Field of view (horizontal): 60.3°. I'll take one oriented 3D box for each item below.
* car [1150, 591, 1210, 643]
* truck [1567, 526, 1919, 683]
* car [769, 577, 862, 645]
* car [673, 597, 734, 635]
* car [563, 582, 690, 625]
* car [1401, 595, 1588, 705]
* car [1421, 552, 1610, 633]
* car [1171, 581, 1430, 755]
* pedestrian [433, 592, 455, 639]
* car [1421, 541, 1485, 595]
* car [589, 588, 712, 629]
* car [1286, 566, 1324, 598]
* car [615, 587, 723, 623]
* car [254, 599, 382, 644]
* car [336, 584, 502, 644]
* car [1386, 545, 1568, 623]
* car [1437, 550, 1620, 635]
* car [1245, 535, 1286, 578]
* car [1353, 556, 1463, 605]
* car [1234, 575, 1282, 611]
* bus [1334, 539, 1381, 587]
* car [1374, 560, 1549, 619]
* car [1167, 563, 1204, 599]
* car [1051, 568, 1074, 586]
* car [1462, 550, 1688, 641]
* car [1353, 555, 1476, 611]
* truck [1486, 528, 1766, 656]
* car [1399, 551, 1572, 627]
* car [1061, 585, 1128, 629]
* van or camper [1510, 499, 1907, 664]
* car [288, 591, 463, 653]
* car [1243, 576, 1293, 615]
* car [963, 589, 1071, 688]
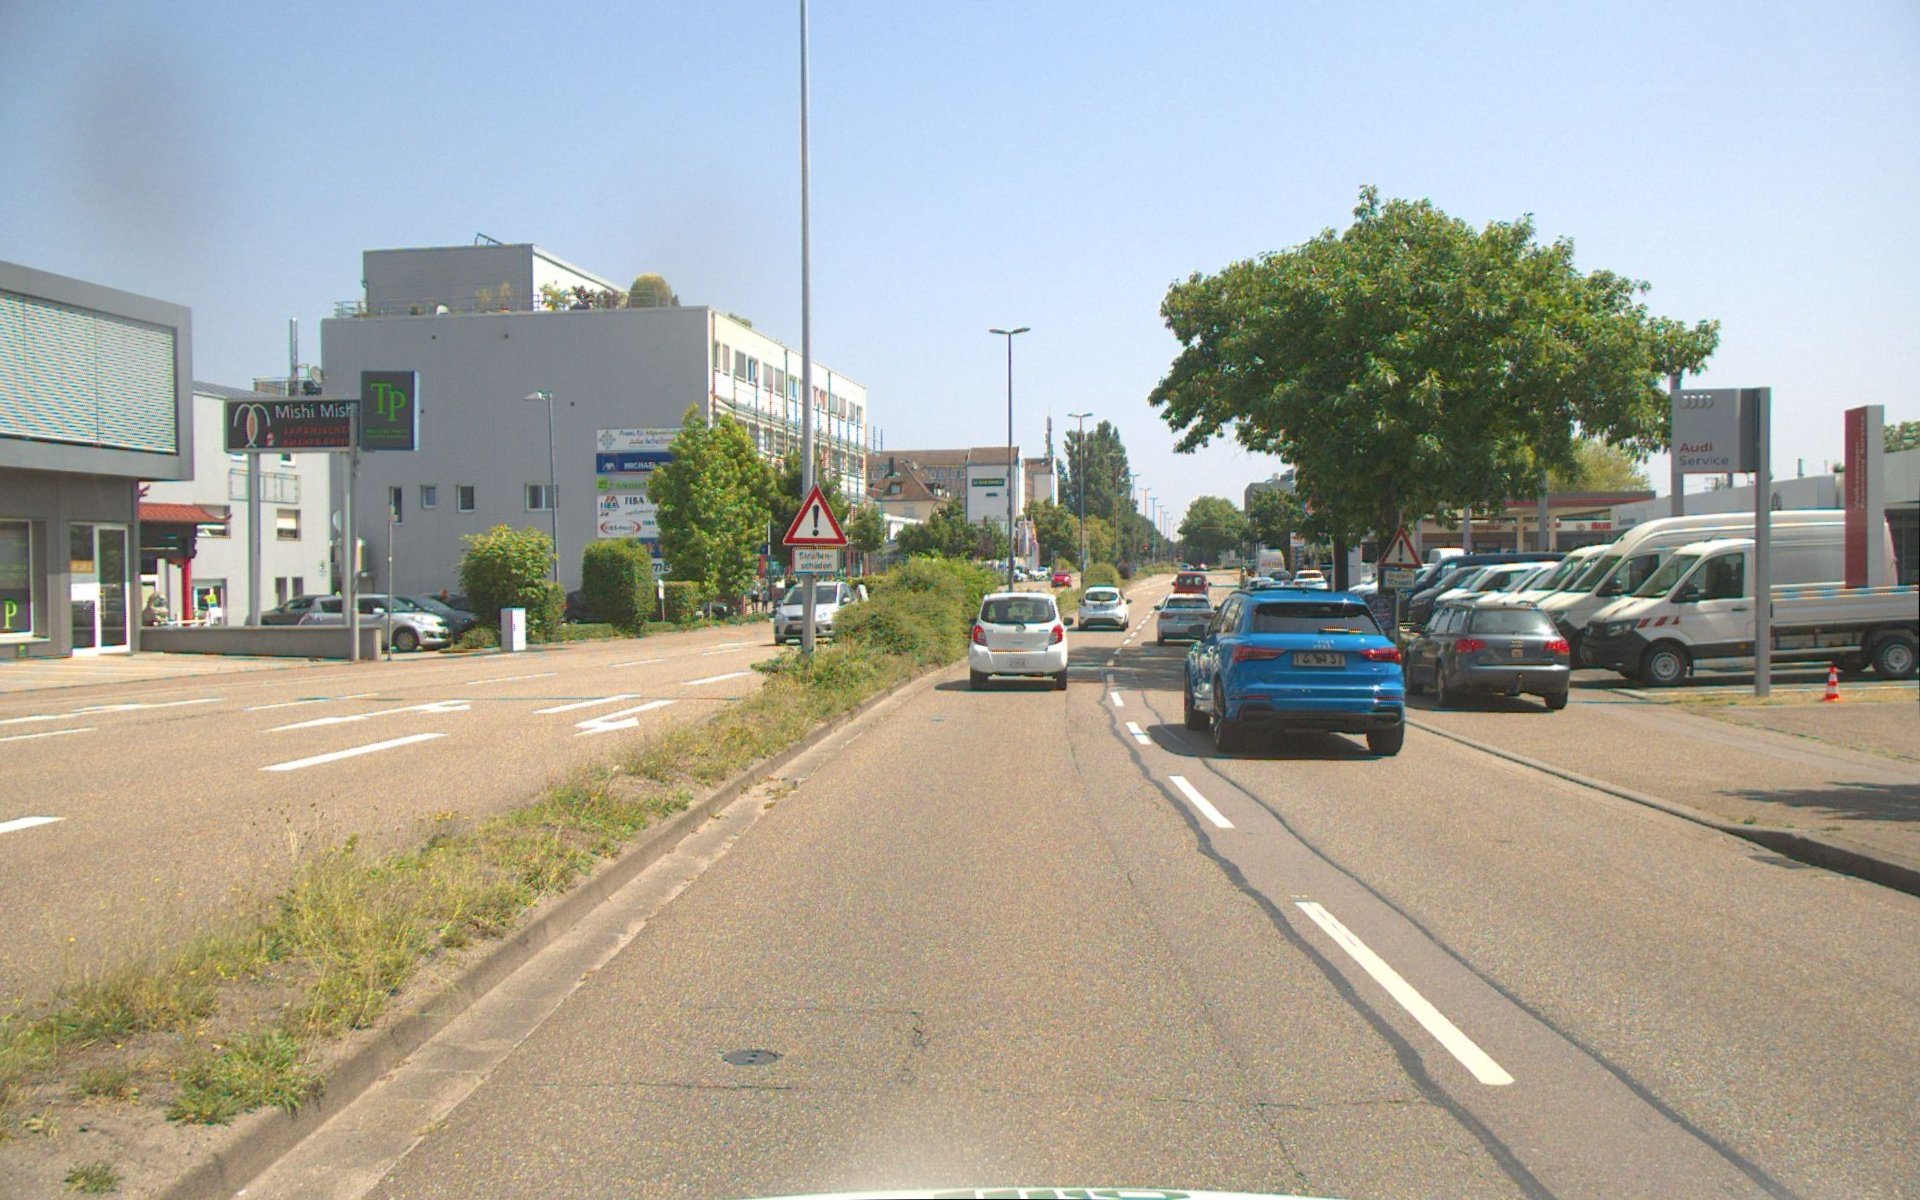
[{"bbox_3d":[6.217,0.463,46.788,1.631,1.424,3.796,0,0,8],"label":"car"},{"bbox_3d":[13.665,0.042,27.779,6.112,2.377,2.371,-2,1,9],"label":"truck"},{"bbox_3d":[-3.783,0.272,43.909,1.743,1.657,4.342,-2,0,4],"label":"car"},{"bbox_3d":[-11.441,0.677,73.894,1.624,1.493,3.801,-3,1,7],"label":"car"},{"bbox_3d":[-12.036,0.132,59.851,4.060,1.365,2.044,-2,1,6],"label":"car"},{"bbox_3d":[7.713,0.654,24.255,1.759,1.430,4.323,1,0,6],"label":"car"},{"bbox_3d":[16.463,-0.224,49.222,4.957,2.133,2.042,-3,0,7],"label":"car"},{"bbox_3d":[3.459,0.632,17.634,1.873,1.625,4.395,0,0,0],"label":"car"},{"bbox_3d":[-18.881,0.573,60.505,0.534,1.686,0.625,1,-1,7],"label":"pedestrian"},{"bbox_3d":[26.171,-1.717,88.032,2.208,2.722,7.024,-1,1,8],"label":"car"},{"bbox_3d":[-11.685,0.311,62.649,4.134,1.372,1.982,-2,1,7],"label":"car"},{"bbox_3d":[18.513,-0.978,88.916,1.631,1.623,4.617,-2,1,8],"label":"car"},{"bbox_3d":[-11.436,0.198,65.134,3.757,1.251,1.861,-2,1,7],"label":"car"},{"bbox_3d":[-23.533,0.779,60.747,3.889,1.493,1.965,-1,1,3],"label":"car"},{"bbox_3d":[-14.675,0.365,44.956,3.911,1.395,1.671,-2,1,10],"label":"car"},{"bbox_3d":[17.646,-0.548,56.705,5.718,2.568,2.206,1,-1,10],"label":"car"},{"bbox_3d":[15.806,-0.194,46.213,4.413,2.049,2.200,-4,-1,9],"label":"car"},{"bbox_3d":[22.170,-3.109,120.457,2.088,2.888,7.314,-4,0,5],"label":"car"},{"bbox_3d":[18.365,-0.774,67.947,4.062,1.812,1.883,-2,-1,7],"label":"car"},{"bbox_3d":[13.658,-0.354,75.954,1.696,1.579,4.182,0,1,3],"label":"car"},{"bbox_3d":[27.389,-2.647,114.452,2.744,3.132,12.298,0,2,12],"label":"bus"},{"bbox_3d":[17.931,-0.390,59.442,5.767,2.049,2.261,1,1,11],"label":"car"},{"bbox_3d":[11.570,-0.947,85.055,1.757,1.759,3.975,1,0,6],"label":"car"},{"bbox_3d":[8.943,-2.040,144.506,1.596,1.448,3.454,-3,0,10],"label":"car"},{"bbox_3d":[15.015,-0.107,40.620,4.808,2.005,2.143,-2,0,8],"label":"car"},{"bbox_3d":[18.556,-0.713,67.701,4.542,2.048,1.962,-2,1,6],"label":"car"},{"bbox_3d":[14.045,-0.166,35.188,5.135,2.478,2.113,-2,1,9],"label":"truck"},{"bbox_3d":[16.349,-0.355,51.709,4.795,2.151,2.131,-2,1,7],"label":"car"},{"bbox_3d":[4.669,0.240,58.048,1.793,1.475,3.997,1,0,-4],"label":"car"},{"bbox_3d":[14.413,-0.347,32.267,6.652,2.948,2.277,-1,1,7],"label":"van or camper"},{"bbox_3d":[-14.881,0.559,42.204,3.903,1.484,1.576,-1,-1,3],"label":"car"},{"bbox_3d":[13.115,-0.219,70.598,1.677,1.575,4.794,-1,1,6],"label":"car"},{"bbox_3d":[0.971,0.623,27.589,1.676,1.537,3.248,1,-1,2],"label":"car"}]
